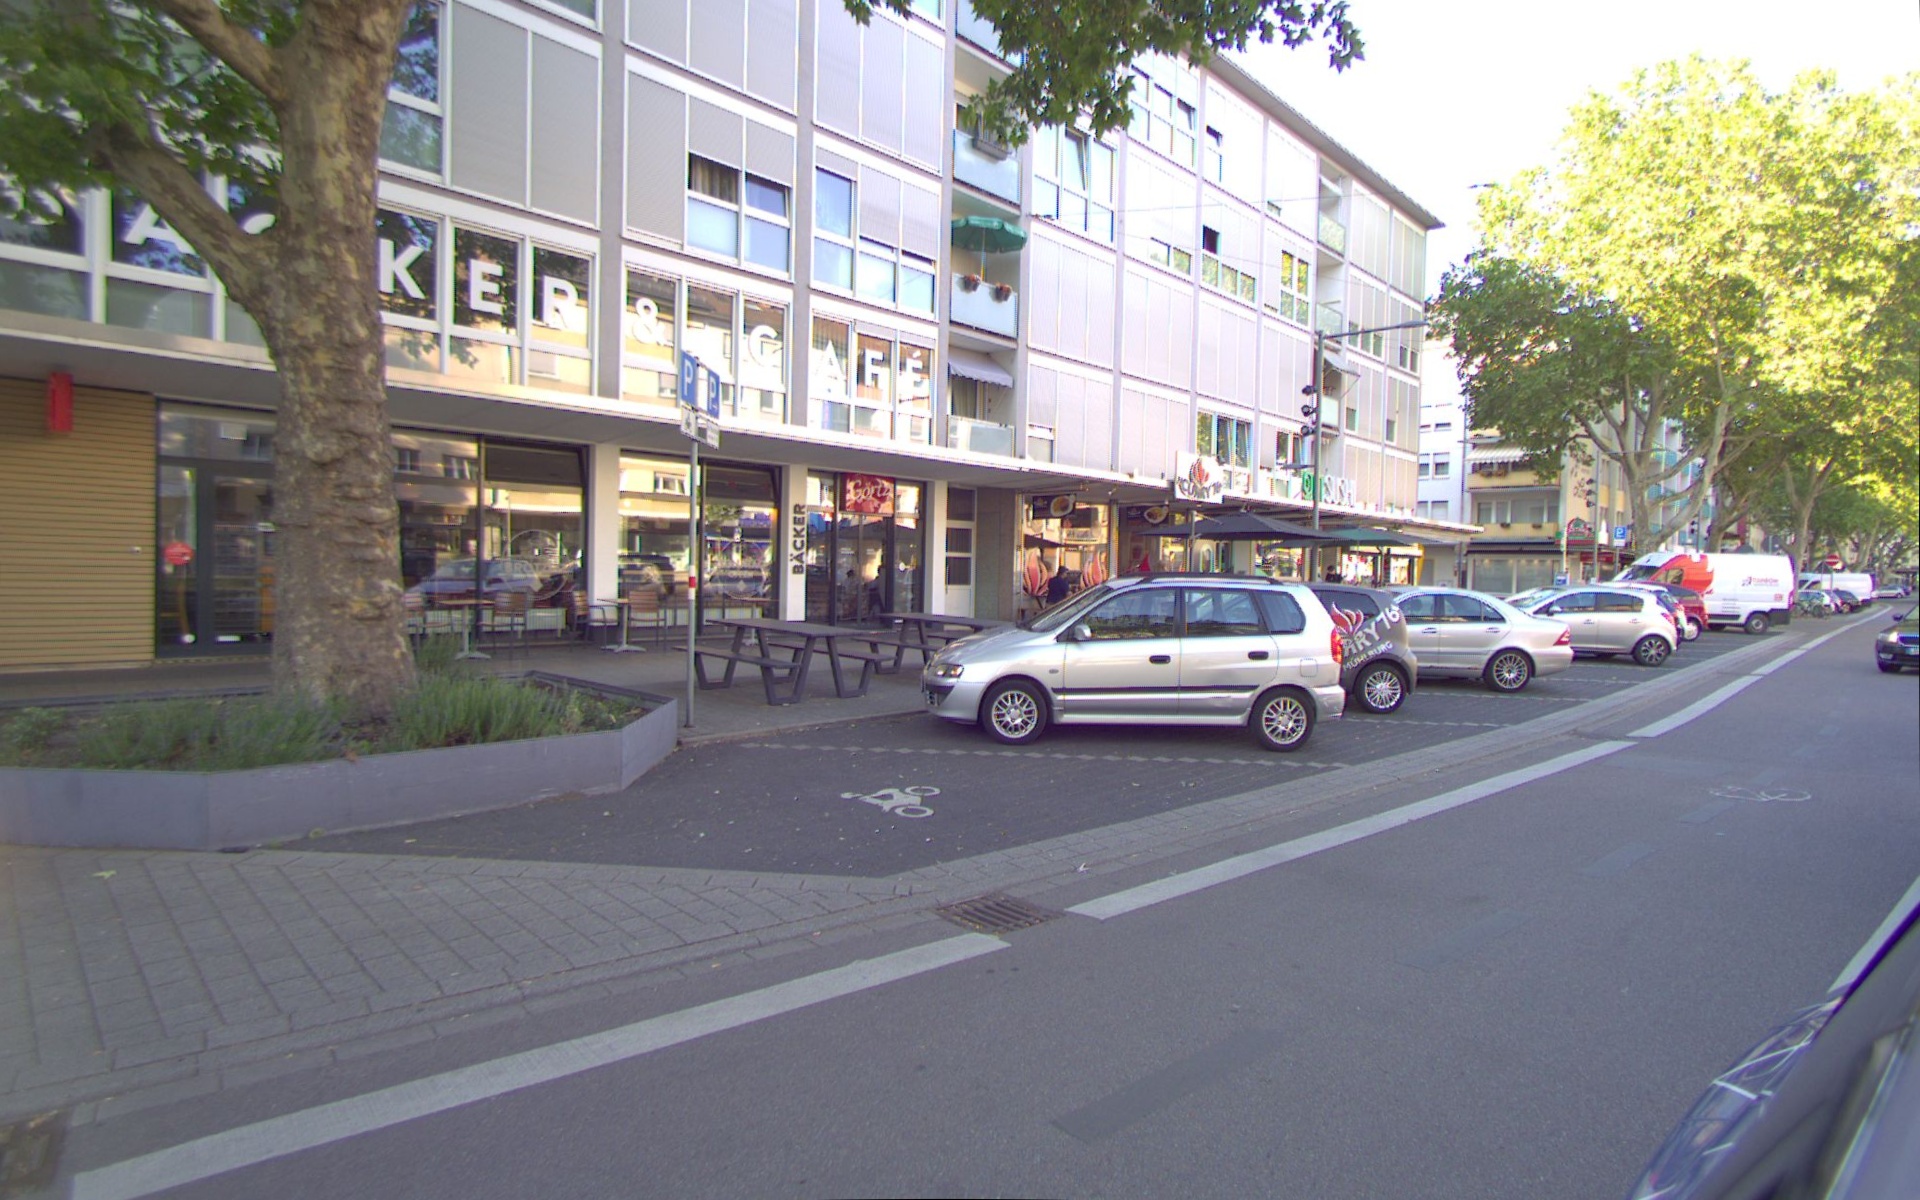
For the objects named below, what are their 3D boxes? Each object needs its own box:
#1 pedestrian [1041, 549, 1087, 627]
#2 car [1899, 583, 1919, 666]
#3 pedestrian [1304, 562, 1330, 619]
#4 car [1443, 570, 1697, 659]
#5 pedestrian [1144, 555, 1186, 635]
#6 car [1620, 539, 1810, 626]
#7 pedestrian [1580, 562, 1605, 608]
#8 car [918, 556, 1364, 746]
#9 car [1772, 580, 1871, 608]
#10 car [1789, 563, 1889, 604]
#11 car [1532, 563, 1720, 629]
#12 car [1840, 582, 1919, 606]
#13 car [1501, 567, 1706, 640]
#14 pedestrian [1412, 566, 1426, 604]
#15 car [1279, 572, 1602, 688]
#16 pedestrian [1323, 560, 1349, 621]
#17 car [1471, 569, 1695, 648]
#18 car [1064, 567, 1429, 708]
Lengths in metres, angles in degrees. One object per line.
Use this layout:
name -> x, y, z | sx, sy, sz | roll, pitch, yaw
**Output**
pedestrian -> 2.204, -0.262, 21.423 | 0.757, 1.602, 0.583 | 0, 2, -39
car -> 18.864, 0.411, 18.816 | 4.156, 1.470, 1.726 | -1, 0, -42
pedestrian -> 10.485, -0.282, 29.736 | 0.536, 1.660, 0.470 | 2, 2, 45
car -> 11.817, 0.248, 19.806 | 3.871, 1.446, 1.559 | 3, 3, 4
pedestrian -> 4.190, -0.112, 20.716 | 0.559, 1.596, 0.632 | 2, 2, 44
car -> 23.823, -0.542, 32.057 | 4.514, 2.525, 1.675 | 2, 0, 5
pedestrian -> 28.536, -0.672, 45.644 | 0.746, 2.038, 0.752 | 2, 2, 45
car -> 1.582, 0.428, 9.814 | 3.906, 1.560, 1.679 | 2, 3, -3
car -> 48.099, -0.352, 56.574 | 3.864, 1.422, 1.782 | 1, 2, 3
car -> 56.540, -1.079, 65.166 | 4.512, 2.499, 1.977 | 1, 2, 3
car -> 18.111, -0.153, 27.719 | 3.891, 1.445, 1.668 | 4, 5, 19
car -> 56.389, -0.359, 61.620 | 3.864, 1.350, 1.782 | 1, 2, 3
car -> 15.921, 0.041, 25.266 | 3.888, 1.445, 1.669 | 4, 5, 17
pedestrian -> 20.981, -0.687, 46.302 | 0.473, 1.751, 0.347 | 1, 1, 11
car -> 6.886, 0.391, 14.781 | 3.867, 1.418, 1.598 | 2, 3, 1
pedestrian -> 10.935, -0.292, 29.414 | 0.544, 1.741, 0.450 | 2, 2, 45
car -> 13.912, 0.143, 22.833 | 3.886, 1.446, 1.670 | 3, 3, 16
car -> 3.352, 0.404, 12.329 | 3.864, 1.446, 1.679 | 2, 3, -3
